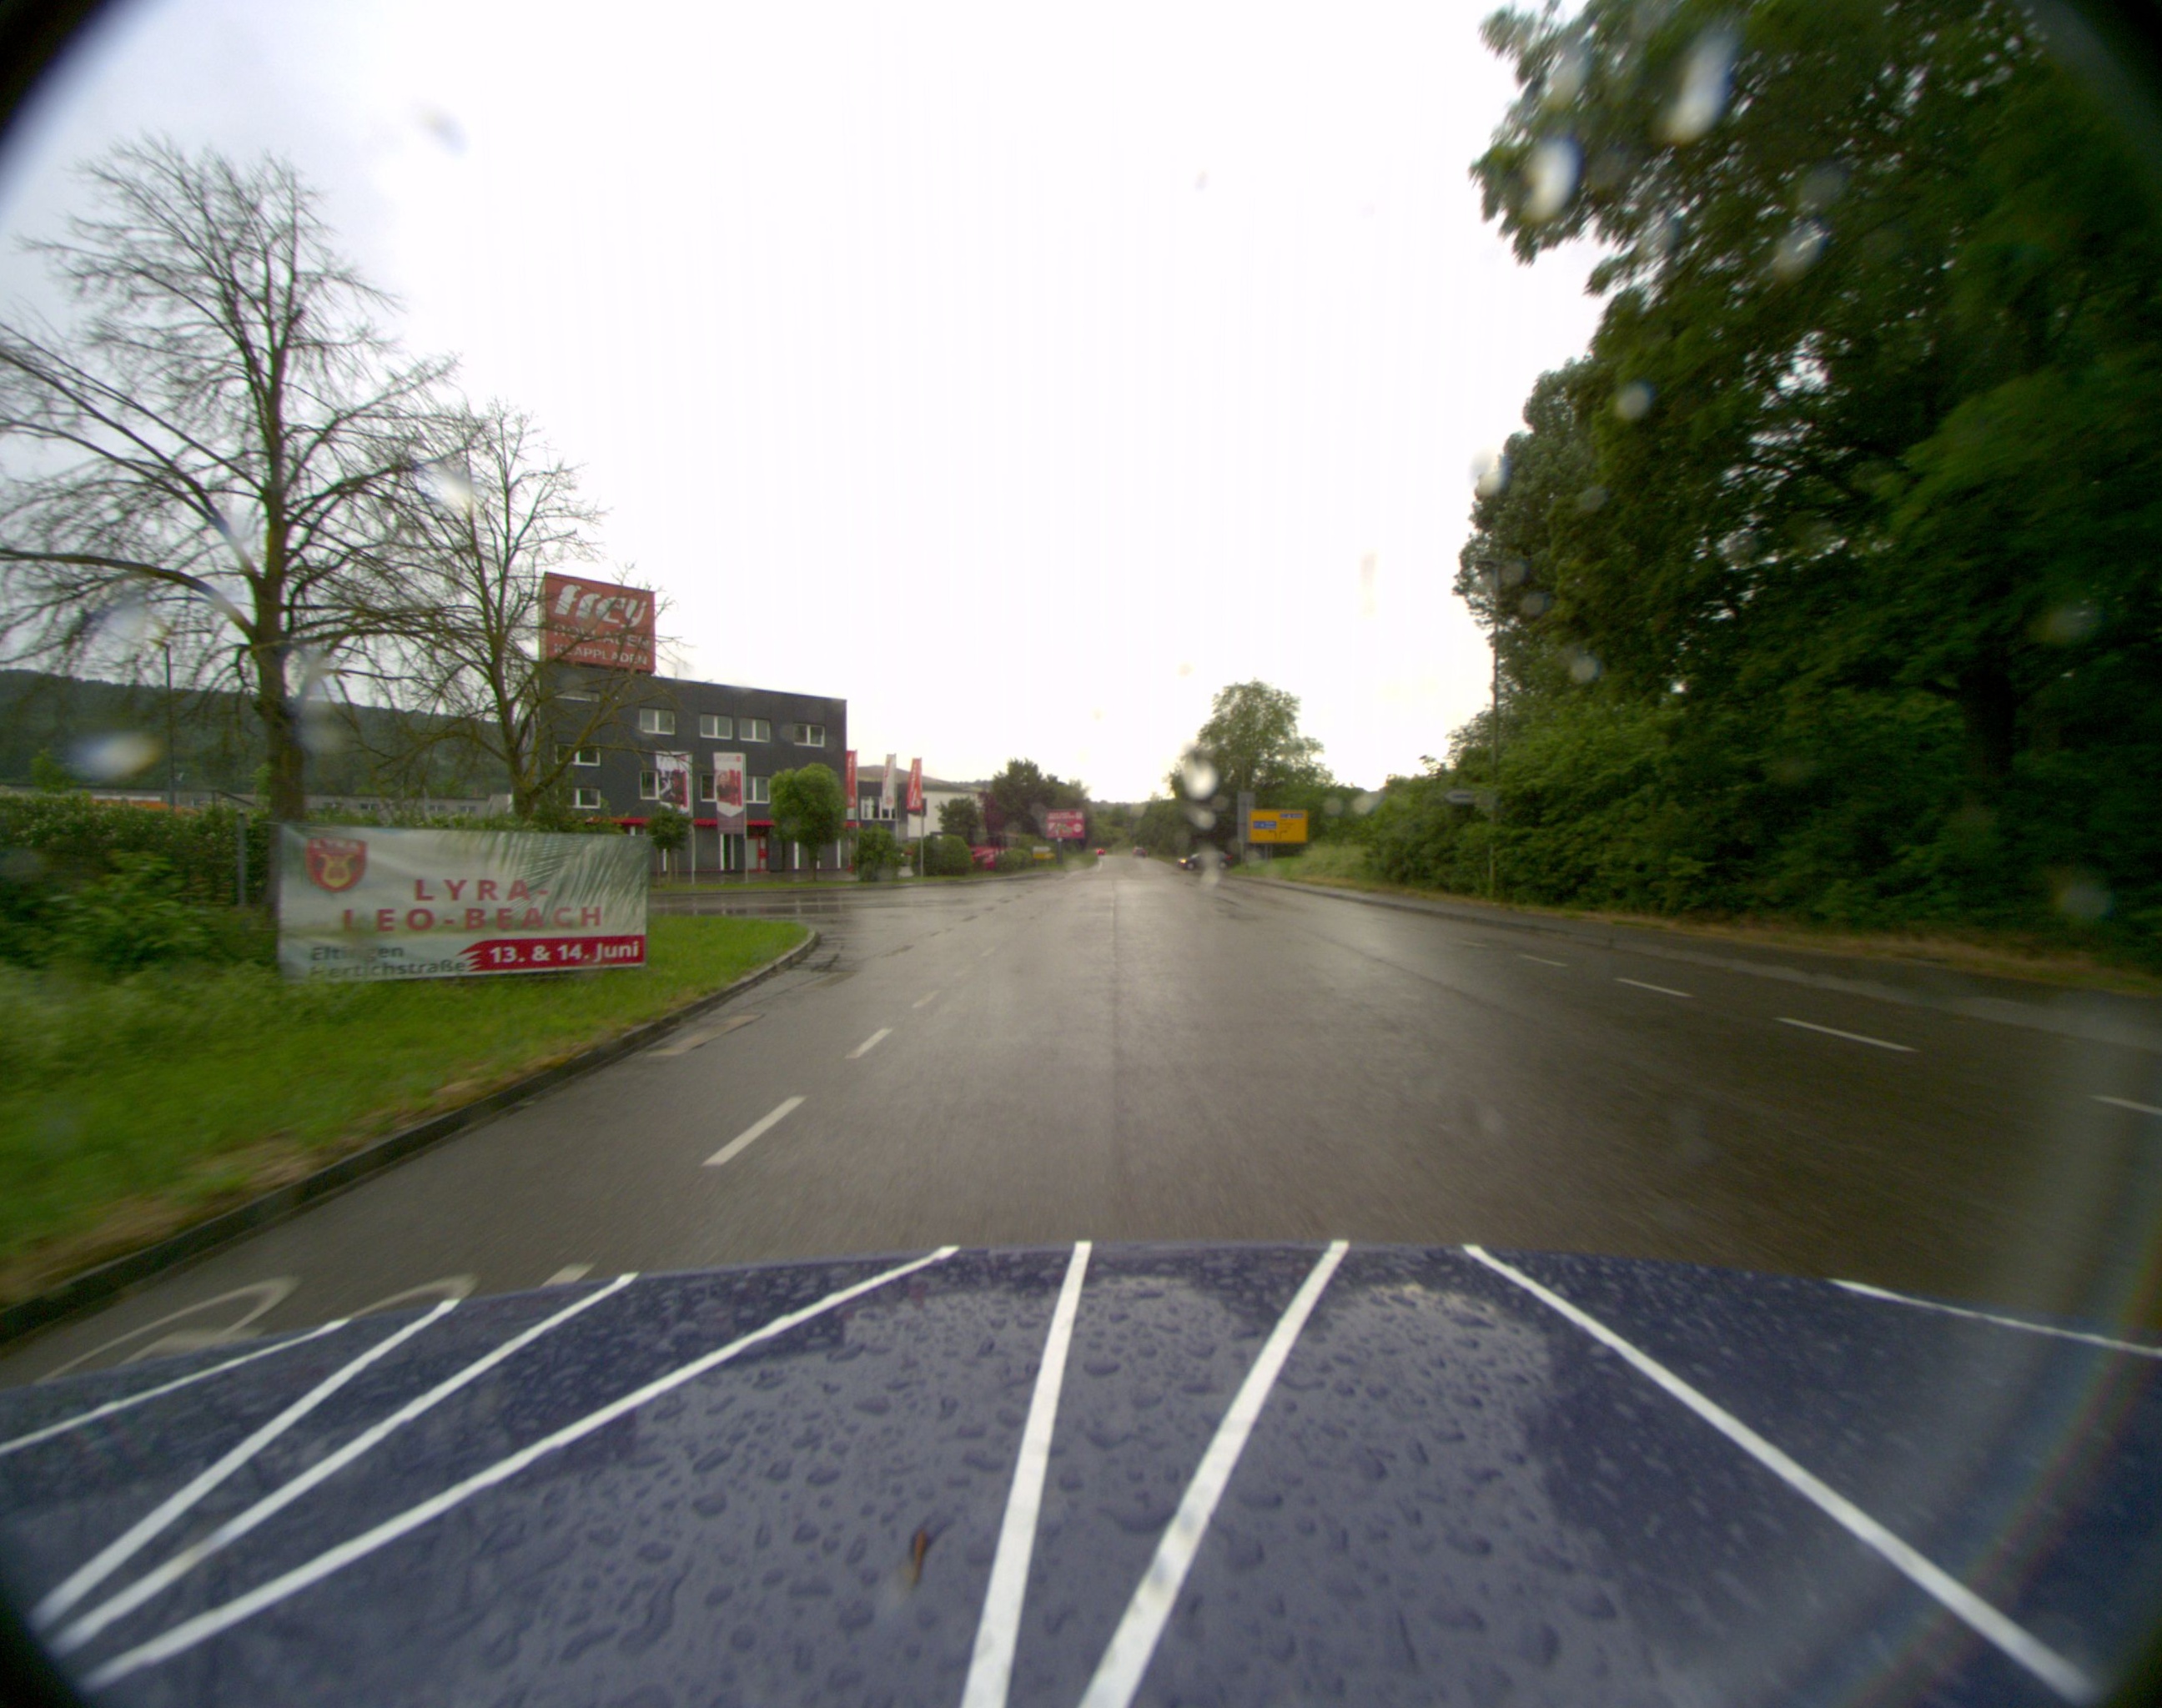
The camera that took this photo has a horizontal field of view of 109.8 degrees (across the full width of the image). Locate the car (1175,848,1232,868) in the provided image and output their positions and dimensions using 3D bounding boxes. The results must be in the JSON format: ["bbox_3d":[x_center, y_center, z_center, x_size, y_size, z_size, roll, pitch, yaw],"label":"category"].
[{"bbox_3d":[9.683,0.289,60.247,4.120,1.481,1.855,-1,1,-7],"label":"car"}]

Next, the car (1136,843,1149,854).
[{"bbox_3d":[8.889,-0.775,109.762,1.833,1.515,4.001,-1,1,5],"label":"car"}]
